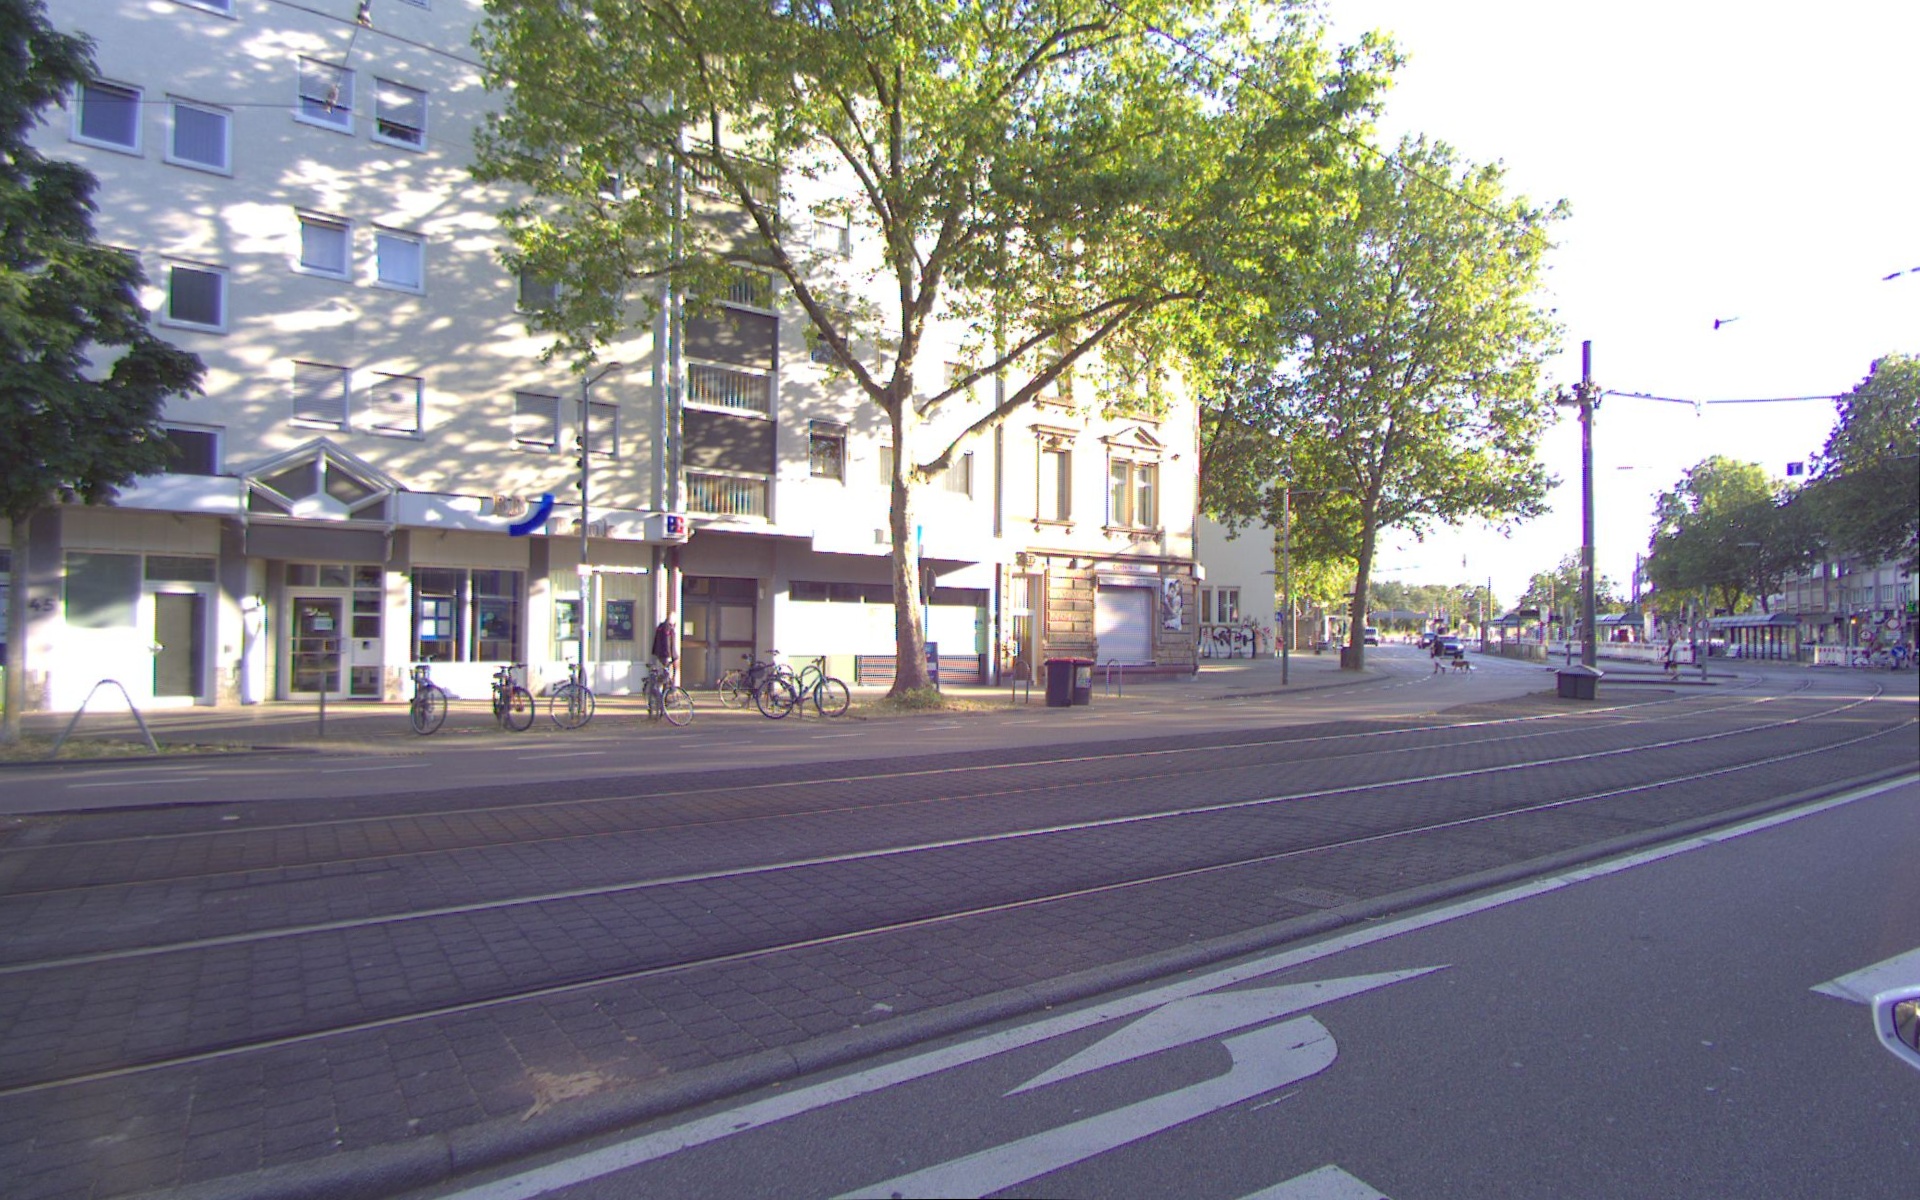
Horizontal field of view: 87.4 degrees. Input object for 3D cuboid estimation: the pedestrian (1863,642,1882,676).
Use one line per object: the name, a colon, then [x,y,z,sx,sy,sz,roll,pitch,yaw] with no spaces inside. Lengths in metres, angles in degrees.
pedestrian: [48.055,3.110,52.889,0.397,1.748,0.713,2,-2,-44]

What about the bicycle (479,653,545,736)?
bicycle: [-6.989,1.433,15.610,0.529,1.139,1.880,2,-1,-36]

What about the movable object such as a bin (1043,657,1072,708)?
movable object such as a bin: [2.157,1.819,22.225,0.634,1.108,0.546,0,-2,5]

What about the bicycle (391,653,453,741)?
bicycle: [-7.981,1.391,14.862,0.529,1.139,1.880,2,-1,-36]

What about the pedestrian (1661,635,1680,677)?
pedestrian: [26.492,2.087,37.442,0.511,1.524,0.406,1,-2,-32]

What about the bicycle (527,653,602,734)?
bicycle: [-6.351,1.462,16.083,0.646,1.139,1.880,2,-1,-36]

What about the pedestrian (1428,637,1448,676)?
pedestrian: [21.534,2.535,45.232,0.663,1.733,0.431,2,0,2]

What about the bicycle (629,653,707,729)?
bicycle: [-4.992,1.514,17.104,0.646,1.139,1.880,2,-1,-36]

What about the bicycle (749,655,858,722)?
bicycle: [-2.821,1.580,18.225,1.891,1.139,0.505,2,-1,-34]

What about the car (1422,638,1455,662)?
car: [32.115,3.329,67.555,1.856,1.492,4.205,0,-2,24]

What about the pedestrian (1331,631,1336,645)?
pedestrian: [42.390,4.338,114.135,0.507,1.524,0.558,0,-2,23]

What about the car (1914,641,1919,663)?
car: [64.507,3.407,65.860,1.635,1.488,3.412,-3,-3,22]

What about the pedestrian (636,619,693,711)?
pedestrian: [-6.038,1.314,20.534,0.959,1.811,0.615,2,0,-31]

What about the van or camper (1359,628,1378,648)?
van or camper: [49.477,4.657,121.647,2.132,2.349,5.103,0,-2,22]

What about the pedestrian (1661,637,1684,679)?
pedestrian: [26.192,2.131,36.910,0.587,1.524,0.517,2,-2,-33]

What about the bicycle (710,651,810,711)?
bicycle: [-3.969,1.590,20.020,1.891,1.139,0.505,2,-1,-34]

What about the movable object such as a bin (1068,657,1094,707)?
movable object such as a bin: [2.750,1.861,22.842,0.562,1.108,0.477,0,-2,5]
